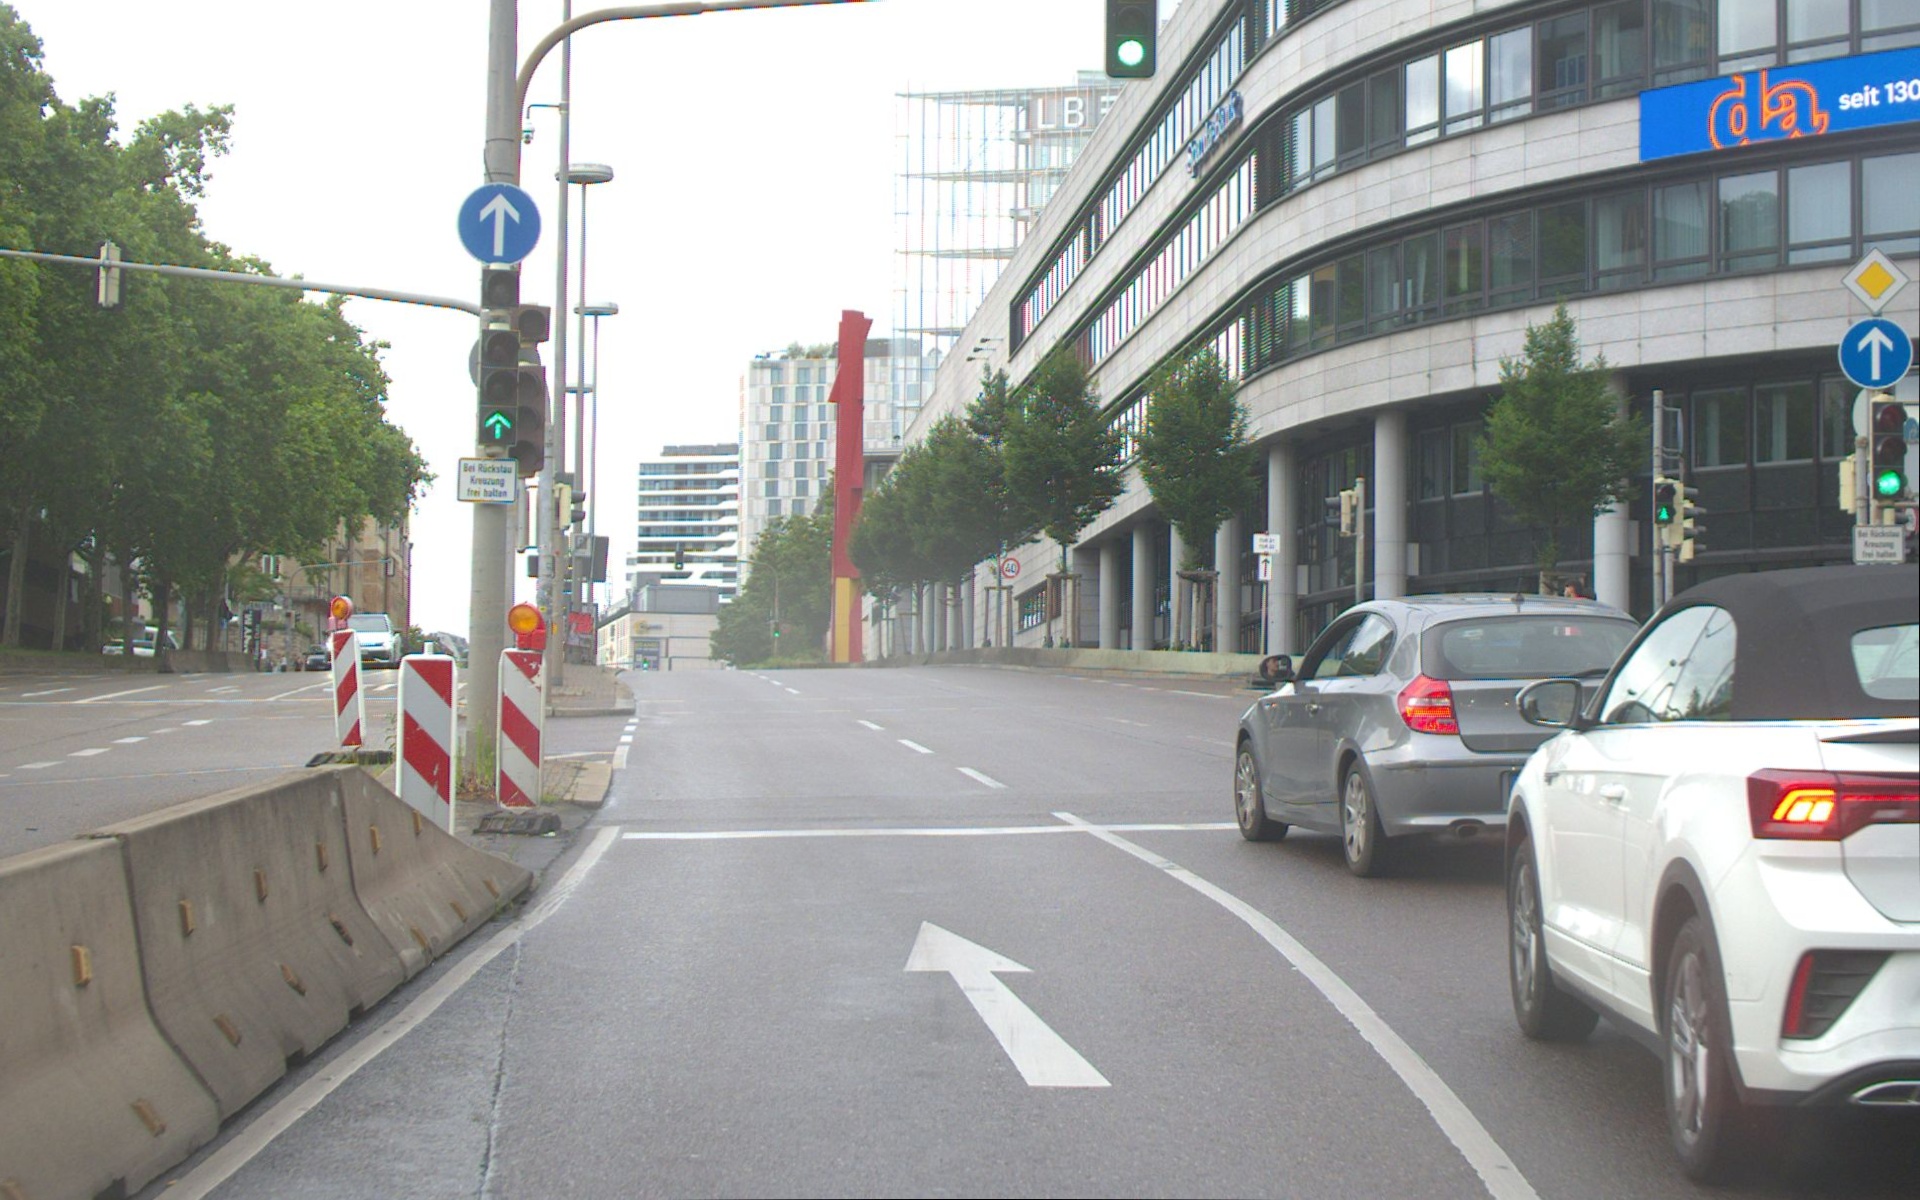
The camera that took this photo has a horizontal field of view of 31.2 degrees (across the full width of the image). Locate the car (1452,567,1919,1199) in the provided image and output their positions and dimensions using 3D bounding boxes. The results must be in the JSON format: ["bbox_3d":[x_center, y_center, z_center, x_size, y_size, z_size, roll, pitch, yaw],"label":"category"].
[{"bbox_3d":[2.683,0.703,9.760,1.964,1.543,4.218,0,0,0],"label":"car"}]

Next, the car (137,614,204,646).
[{"bbox_3d":[-46.009,1.755,200.342,3.628,1.695,1.825,-1,-2,-8],"label":"car"}]

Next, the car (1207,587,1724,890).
[{"bbox_3d":[2.564,0.673,18.406,1.739,1.438,4.001,1,0,-7],"label":"car"}]

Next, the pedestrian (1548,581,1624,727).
[{"bbox_3d":[8.202,0.706,45.022,0.841,1.898,0.731,0,-1,21],"label":"pedestrian"}]

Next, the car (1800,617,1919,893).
[{"bbox_3d":[5.760,0.756,18.170,1.755,1.402,4.227,-3,-1,3],"label":"car"}]

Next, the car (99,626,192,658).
[{"bbox_3d":[-41.114,2.139,173.573,1.823,1.506,4.569,-3,-3,33],"label":"car"}]

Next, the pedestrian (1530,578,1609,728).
[{"bbox_3d":[7.823,0.684,44.112,0.841,1.898,0.860,0,-3,21],"label":"pedestrian"}]

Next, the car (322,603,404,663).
[{"bbox_3d":[-15.449,0.834,89.118,1.760,1.456,4.360,-1,0,-5],"label":"car"}]
